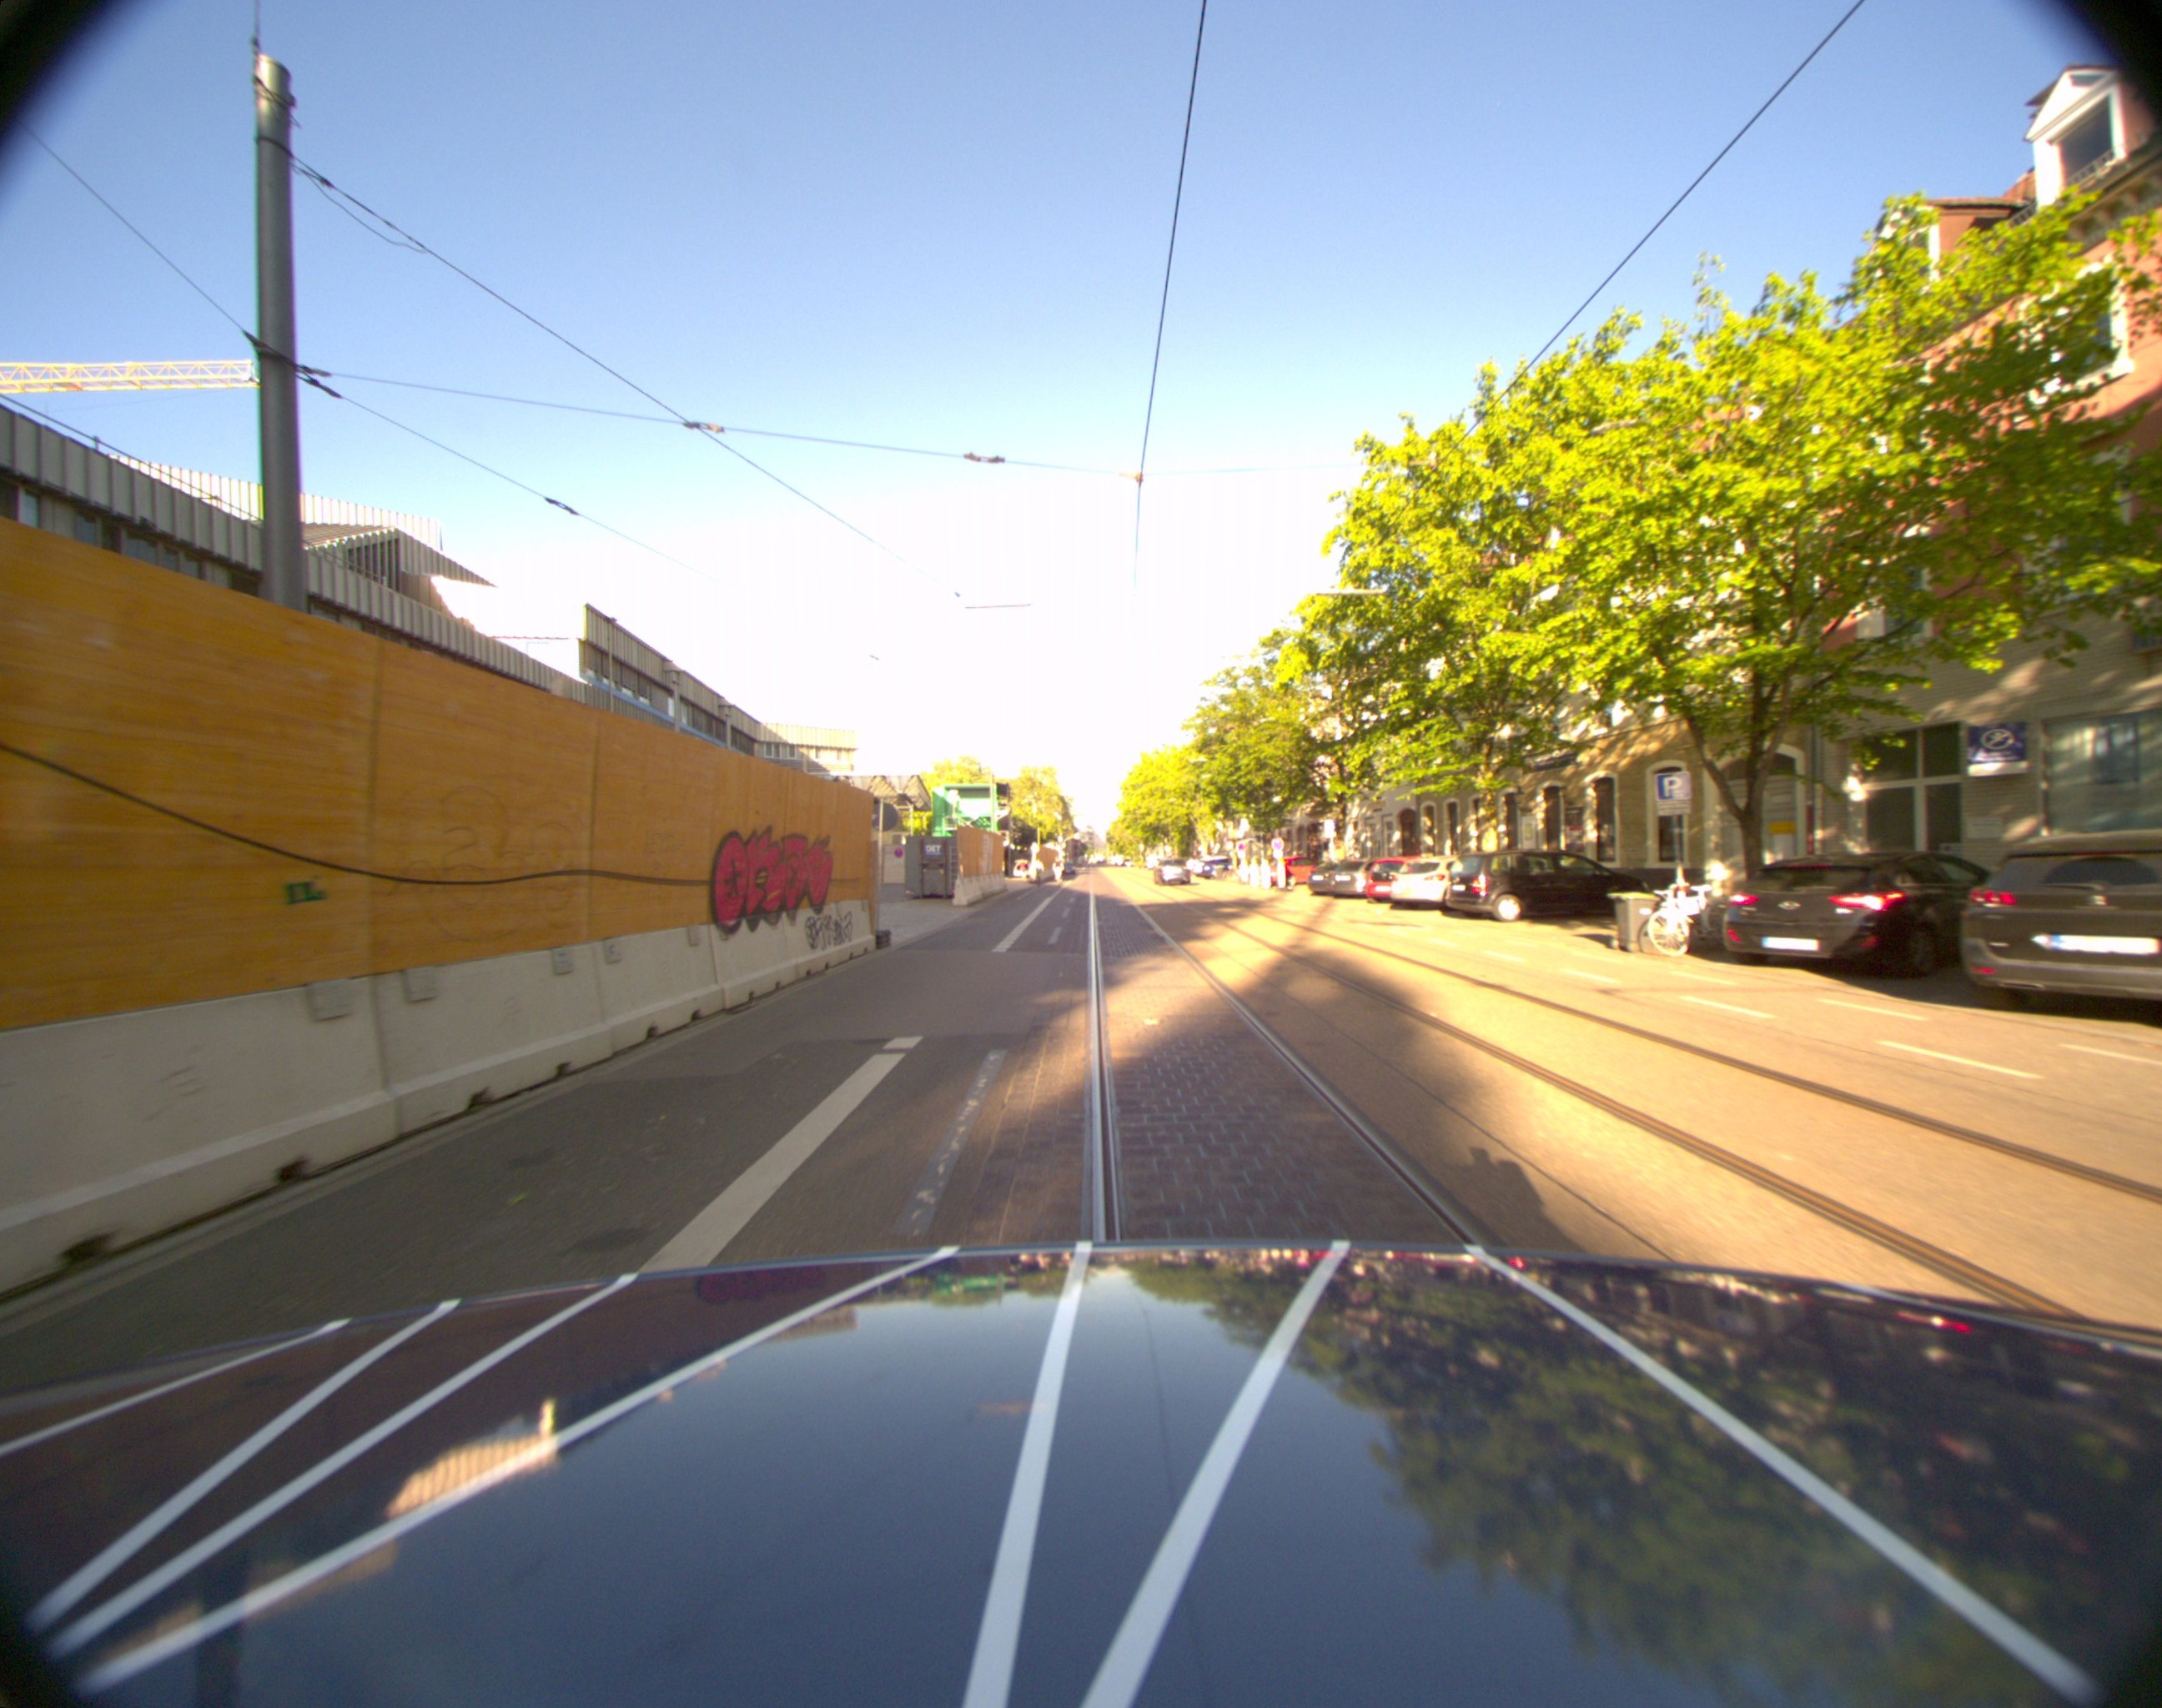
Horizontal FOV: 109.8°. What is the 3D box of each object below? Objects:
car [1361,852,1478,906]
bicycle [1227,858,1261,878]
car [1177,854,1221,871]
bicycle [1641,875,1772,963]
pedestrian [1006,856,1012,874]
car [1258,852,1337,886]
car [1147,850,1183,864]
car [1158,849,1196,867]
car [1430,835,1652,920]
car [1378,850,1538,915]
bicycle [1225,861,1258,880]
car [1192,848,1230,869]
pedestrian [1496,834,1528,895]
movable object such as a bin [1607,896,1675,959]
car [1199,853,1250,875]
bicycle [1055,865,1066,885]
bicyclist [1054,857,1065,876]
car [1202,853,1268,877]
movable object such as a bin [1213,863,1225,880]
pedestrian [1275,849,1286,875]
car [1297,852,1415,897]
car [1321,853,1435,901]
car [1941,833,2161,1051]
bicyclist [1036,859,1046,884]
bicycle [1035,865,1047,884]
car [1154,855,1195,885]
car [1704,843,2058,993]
[{"bbox_3d":[10.858,0.783,24.362,3.378,1.484,1.610,-3,0,-27],"label":"car"},{"bbox_3d":[10.432,0.897,48.633,2.007,1.081,0.567,-6,0,3],"label":"bicycle"},{"bbox_3d":[11.379,0.803,73.292,3.651,1.520,1.884,-1,0,-19],"label":"car"},{"bbox_3d":[9.446,0.951,11.468,1.973,1.138,0.492,-3,1,-17],"label":"bicycle"},{"bbox_3d":[-6.907,1.061,72.905,0.449,1.748,0.377,-2,0,-19],"label":"pedestrian"},{"bbox_3d":[11.240,0.772,39.472,3.629,1.544,1.666,-3,-1,-25],"label":"car"},{"bbox_3d":[12.455,0.382,113.154,4.943,2.002,2.072,-1,0,-14],"label":"car"},{"bbox_3d":[12.173,0.479,96.727,4.448,2.105,2.163,-2,0,-1],"label":"car"},{"bbox_3d":[10.821,0.536,18.085,4.115,1.668,1.841,-4,0,-1],"label":"car"},{"bbox_3d":[10.673,0.767,21.487,4.122,1.503,1.837,-3,0,-25],"label":"car"},{"bbox_3d":[10.555,1.077,49.960,1.972,1.073,0.568,-4,0,3],"label":"bicycle"},{"bbox_3d":[11.477,0.392,66.852,1.728,1.832,3.453,-1,0,40],"label":"car"},{"bbox_3d":[14.211,0.344,25.056,0.733,2.002,0.556,-1,0,2],"label":"pedestrian"},{"bbox_3d":[8.776,1.133,11.920,0.577,0.908,0.575,-3,0,-15],"label":"movable object such as a bin"},{"bbox_3d":[11.074,0.733,58.554,3.910,1.599,1.569,-1,0,-37],"label":"car"},{"bbox_3d":[-1.289,1.291,47.624,0.669,1.148,2.275,-2,0,-2],"label":"bicycle"},{"bbox_3d":[-1.338,0.781,47.484,0.653,1.230,0.353,0,0,-1],"label":"bicyclist"},{"bbox_3d":[12.627,0.889,62.165,4.947,1.784,2.204,-1,0,-27],"label":"car"},{"bbox_3d":[9.473,1.198,52.181,0.685,1.071,0.710,-4,0,2],"label":"movable object such as a bin"},{"bbox_3d":[14.158,0.538,53.931,0.645,1.827,0.624,-1,0,2],"label":"pedestrian"},{"bbox_3d":[10.822,0.783,29.901,4.208,1.482,1.940,-3,0,-26],"label":"car"},{"bbox_3d":[10.686,0.788,27.315,3.689,1.462,1.749,-3,1,-28],"label":"car"},{"bbox_3d":[10.141,0.645,6.879,4.253,1.675,1.807,-1,0,-22],"label":"car"},{"bbox_3d":[-2.545,1.126,48.418,0.557,1.603,0.576,0,0,-1],"label":"bicyclist"},{"bbox_3d":[-2.531,1.300,47.941,0.558,1.120,2.276,-2,0,1],"label":"bicycle"},{"bbox_3d":[5.456,0.897,44.802,1.932,1.620,4.249,-1,0,1],"label":"car"},{"bbox_3d":[10.483,0.713,9.991,3.872,1.468,1.840,-3,1,-21],"label":"car"}]
